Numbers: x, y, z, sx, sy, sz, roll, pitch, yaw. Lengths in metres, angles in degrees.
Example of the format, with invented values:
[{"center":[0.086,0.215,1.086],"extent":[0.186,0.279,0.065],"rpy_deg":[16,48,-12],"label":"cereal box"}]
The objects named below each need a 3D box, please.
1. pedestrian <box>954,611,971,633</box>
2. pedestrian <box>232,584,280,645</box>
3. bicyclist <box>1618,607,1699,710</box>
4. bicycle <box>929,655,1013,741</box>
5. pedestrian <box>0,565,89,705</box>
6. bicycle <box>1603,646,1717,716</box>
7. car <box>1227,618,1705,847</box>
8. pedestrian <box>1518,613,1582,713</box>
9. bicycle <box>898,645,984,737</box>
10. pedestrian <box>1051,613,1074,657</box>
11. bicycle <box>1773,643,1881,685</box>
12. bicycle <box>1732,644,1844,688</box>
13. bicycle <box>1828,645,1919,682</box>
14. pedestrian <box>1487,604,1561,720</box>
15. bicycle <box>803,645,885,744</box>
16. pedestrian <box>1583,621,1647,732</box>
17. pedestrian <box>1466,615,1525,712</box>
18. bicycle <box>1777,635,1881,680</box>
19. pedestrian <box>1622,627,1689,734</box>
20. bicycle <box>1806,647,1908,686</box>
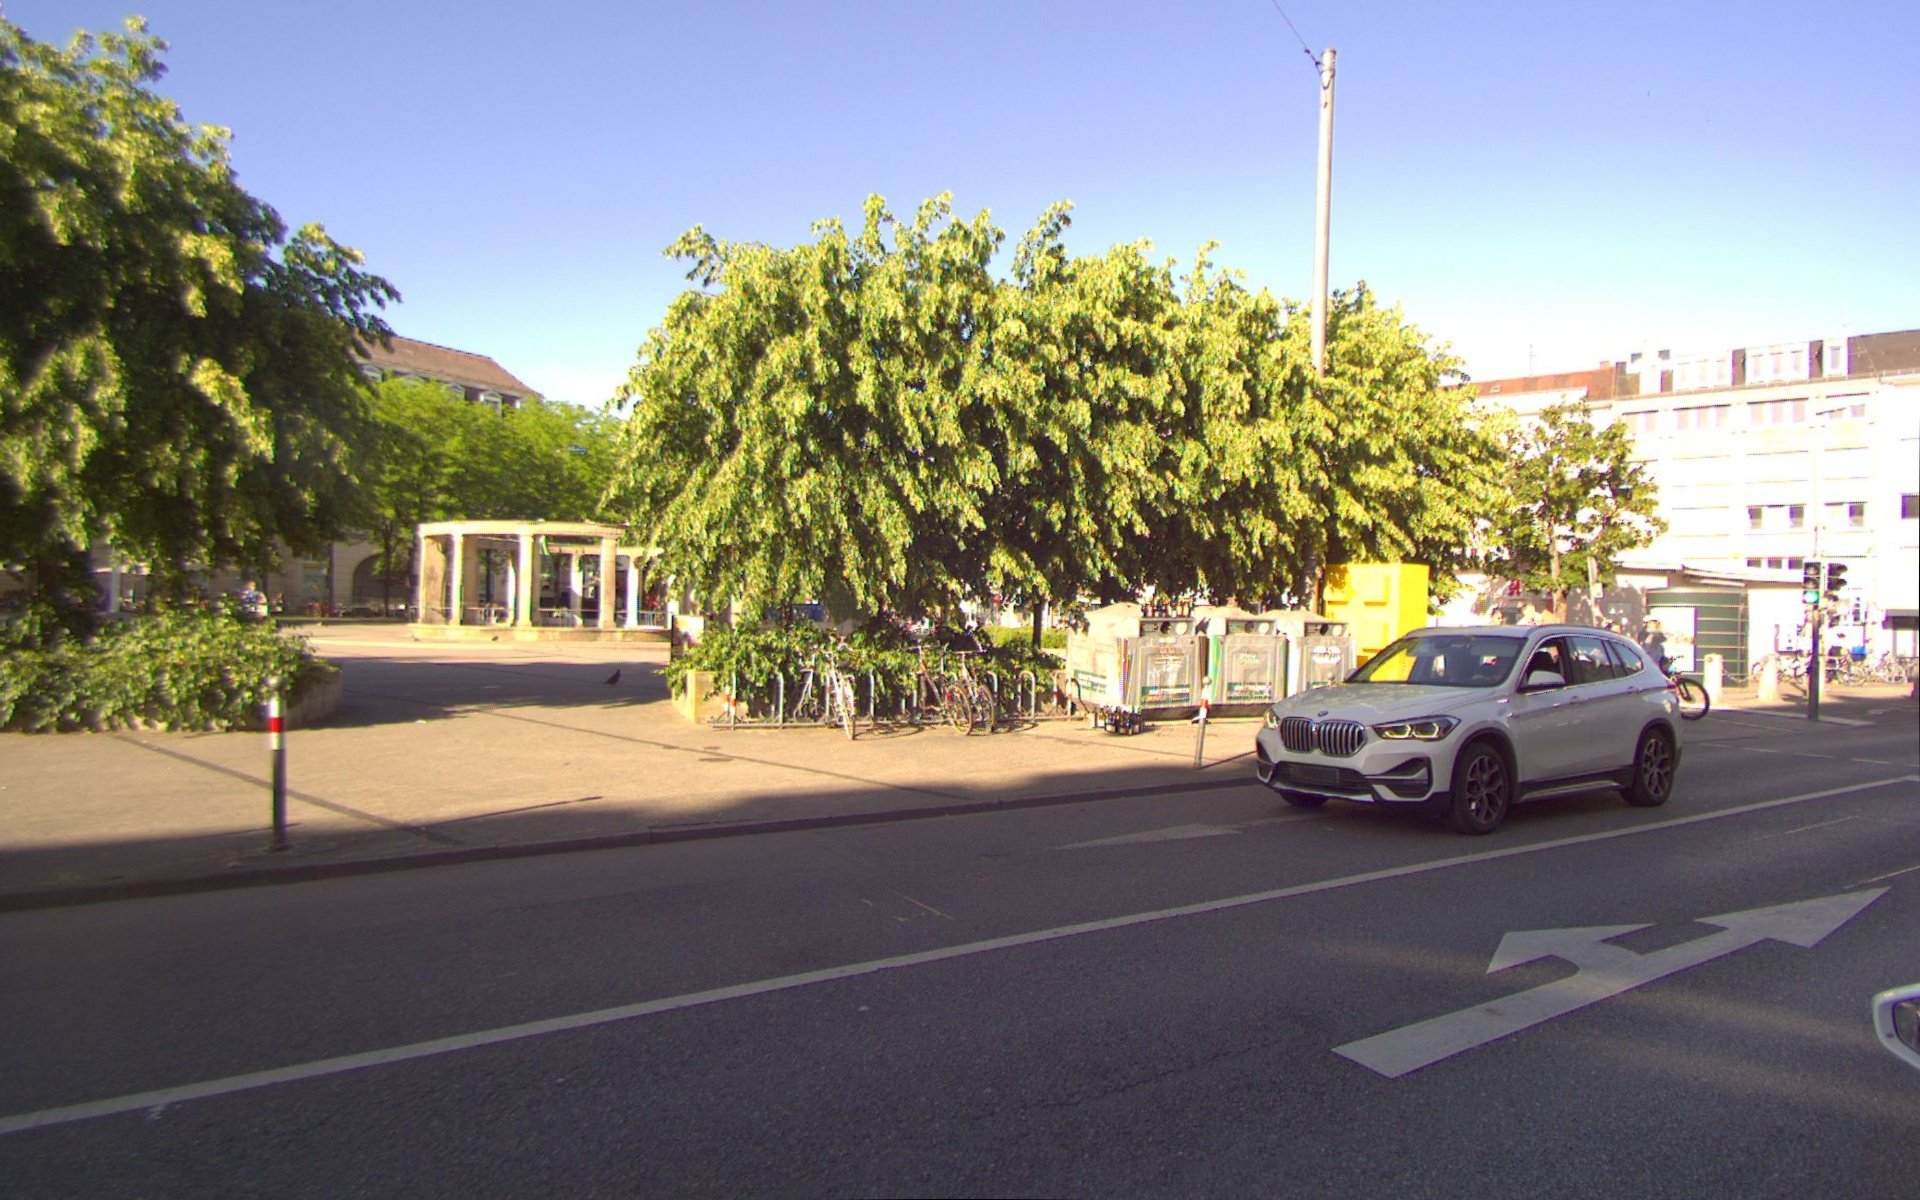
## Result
[{"center":[0.221,2.052,93.442],"extent":[1.250,2.040,1.286],"rpy_deg":[1,0,12],"label":"pedestrian"},{"center":[-20.832,0.424,29.736],"extent":[0.723,1.781,0.898],"rpy_deg":[1,0,29],"label":"pedestrian"},{"center":[13.084,1.070,18.834],"extent":[0.773,1.862,0.952],"rpy_deg":[1,0,-6],"label":"bicyclist"},{"center":[0.121,1.244,13.108],"extent":[0.425,0.971,1.517],"rpy_deg":[0,0,-28],"label":"bicycle"},{"center":[-12.198,0.453,13.276],"extent":[0.726,1.781,0.895],"rpy_deg":[1,0,-20],"label":"pedestrian"},{"center":[13.136,1.495,18.929],"extent":[0.528,1.154,2.065],"rpy_deg":[1,0,-6],"label":"bicycle"},{"center":[4.542,1.018,8.857],"extent":[4.262,1.575,1.798],"rpy_deg":[2,-4,-32],"label":"car"},{"center":[11.212,1.178,19.123],"extent":[0.727,1.851,0.846],"rpy_deg":[1,-1,4],"label":"pedestrian"},{"center":[-0.270,1.125,12.800],"extent":[0.425,1.036,1.561],"rpy_deg":[1,0,-28],"label":"bicycle"},{"center":[4.864,1.642,47.610],"extent":[0.913,2.040,1.185],"rpy_deg":[1,0,-1],"label":"pedestrian"},{"center":[27.407,1.995,31.786],"extent":[0.833,1.171,2.449],"rpy_deg":[1,0,-31],"label":"bicycle"},{"center":[25.195,1.993,30.615],"extent":[0.833,1.171,2.493],"rpy_deg":[1,0,-31],"label":"bicycle"},{"center":[32.951,2.275,36.279],"extent":[0.834,1.171,2.308],"rpy_deg":[1,0,-35],"label":"bicycle"},{"center":[9.914,1.070,17.666],"extent":[0.699,1.981,0.828],"rpy_deg":[1,1,-18],"label":"pedestrian"},{"center":[-1.437,1.113,12.213],"extent":[0.425,1.031,1.590],"rpy_deg":[1,0,-28],"label":"bicycle"},{"center":[10.636,1.224,16.327],"extent":[0.661,1.751,0.549],"rpy_deg":[1,-1,3],"label":"pedestrian"},{"center":[10.225,1.190,19.199],"extent":[0.640,1.792,0.897],"rpy_deg":[1,-1,1],"label":"pedestrian"},{"center":[28.764,1.890,33.279],"extent":[0.913,1.341,2.461],"rpy_deg":[1,0,-35],"label":"bicycle"},{"center":[11.246,1.282,16.255],"extent":[0.608,1.685,0.685],"rpy_deg":[1,-1,5],"label":"pedestrian"},{"center":[31.031,2.281,34.794],"extent":[0.834,1.171,2.517],"rpy_deg":[1,0,-35],"label":"bicycle"}]
